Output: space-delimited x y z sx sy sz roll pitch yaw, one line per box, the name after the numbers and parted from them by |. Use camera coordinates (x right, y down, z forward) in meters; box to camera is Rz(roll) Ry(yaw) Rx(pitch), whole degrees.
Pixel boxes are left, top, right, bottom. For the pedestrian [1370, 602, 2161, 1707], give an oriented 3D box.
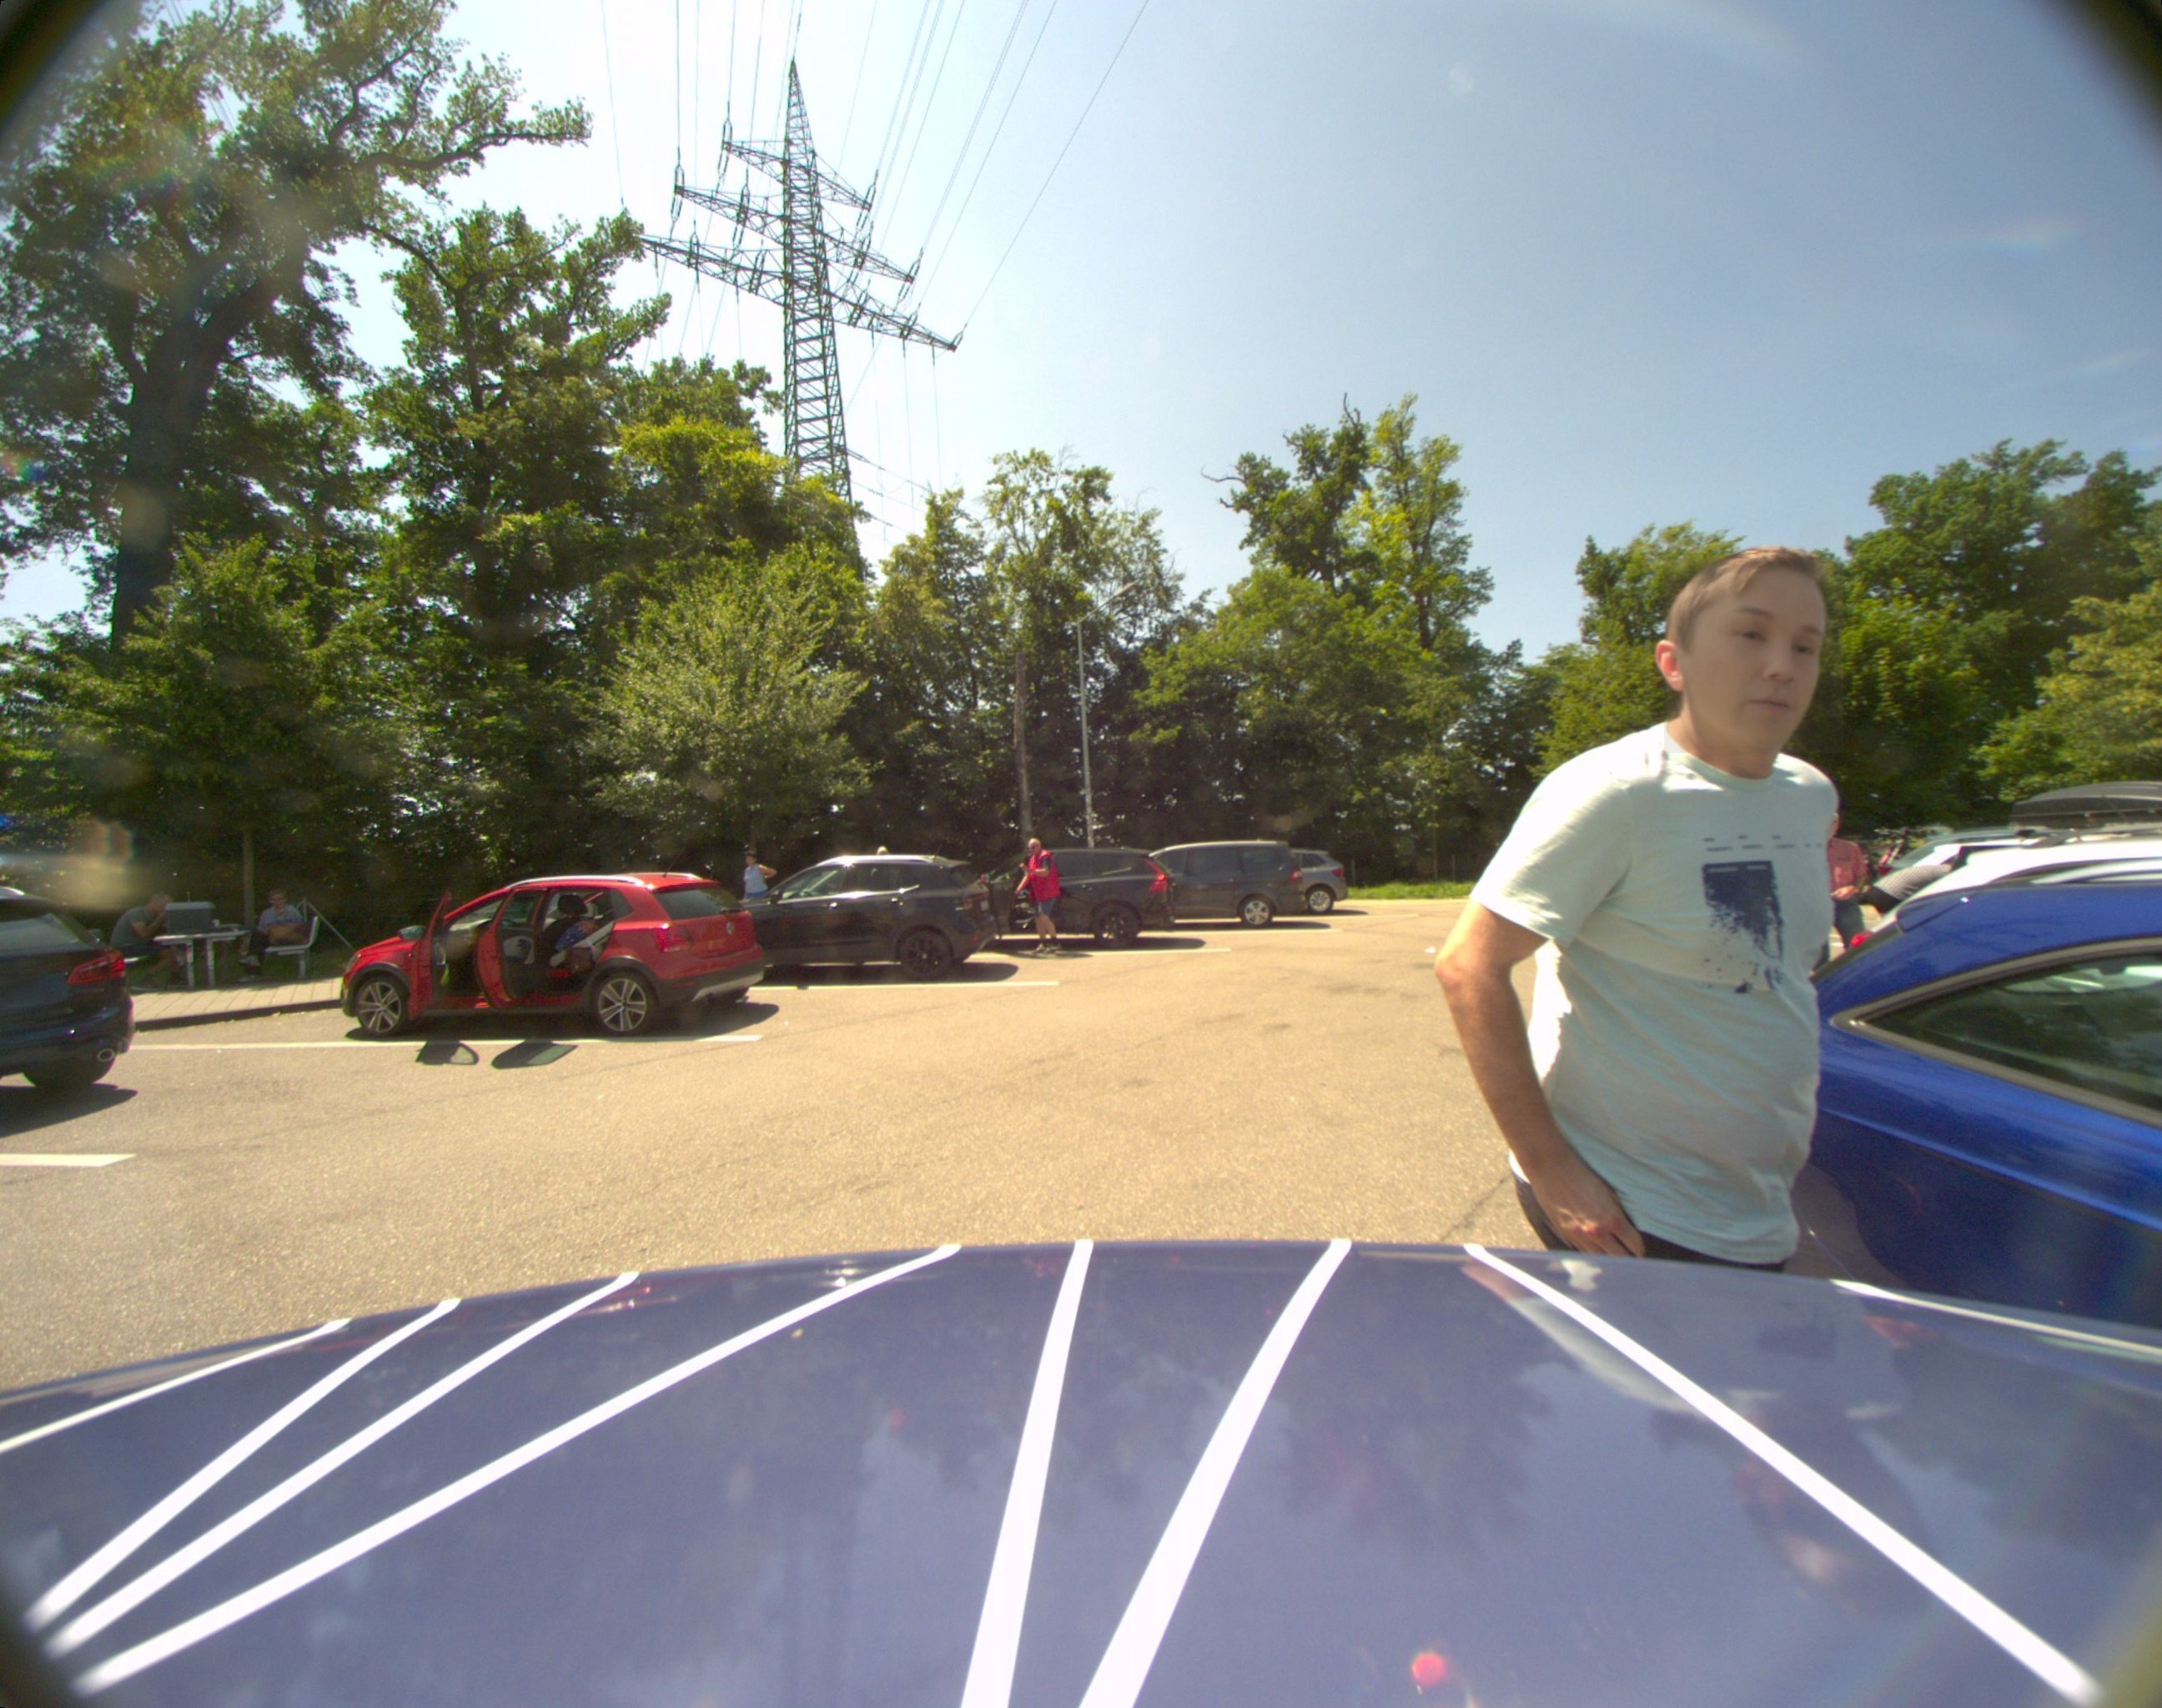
0.870 0.616 1.023 0.687 1.699 0.578 -2 0 1 | pedestrian

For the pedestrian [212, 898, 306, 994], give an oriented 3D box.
-11.915 1.309 11.021 0.828 1.287 0.672 -2 0 24 | pedestrian

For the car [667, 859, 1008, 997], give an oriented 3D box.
-3.144 0.938 10.368 3.966 1.582 1.841 -2 0 3 | car

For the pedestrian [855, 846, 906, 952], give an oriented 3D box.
-3.665 0.804 13.876 0.682 1.854 0.713 -2 0 -30 | pedestrian

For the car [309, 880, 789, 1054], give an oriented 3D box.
-5.191 1.072 7.709 3.704 1.448 1.781 -2 0 7 | car

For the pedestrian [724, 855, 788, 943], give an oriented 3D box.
-6.098 0.823 14.266 0.713 1.584 0.811 -2 0 37 | pedestrian

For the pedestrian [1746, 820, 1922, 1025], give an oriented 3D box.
6.288 0.546 6.388 0.672 1.592 0.759 -2 0 1 | pedestrian

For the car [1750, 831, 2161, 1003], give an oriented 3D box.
10.066 0.532 8.146 1.779 1.456 4.470 -2 -1 0 | car

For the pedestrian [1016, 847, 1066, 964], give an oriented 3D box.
-0.603 0.778 11.729 0.660 1.745 0.636 -2 0 1 | pedestrian

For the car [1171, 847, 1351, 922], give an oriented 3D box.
4.181 0.712 18.191 3.964 1.577 1.781 -2 0 7 | car

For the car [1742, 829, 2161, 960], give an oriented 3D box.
12.367 0.475 10.930 1.779 1.456 4.470 -2 -1 0 | car

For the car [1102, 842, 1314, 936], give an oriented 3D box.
2.511 0.696 15.439 3.964 1.678 1.781 -2 0 7 | car

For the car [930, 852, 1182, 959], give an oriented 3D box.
-0.325 0.840 12.947 3.964 1.582 1.781 -2 0 8 | car

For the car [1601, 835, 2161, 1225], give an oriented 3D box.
4.948 0.655 3.642 1.779 1.456 4.470 -2 -1 0 | car

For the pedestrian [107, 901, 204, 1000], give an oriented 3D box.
-12.734 1.305 10.464 0.652 1.262 0.672 -2 0 24 | pedestrian

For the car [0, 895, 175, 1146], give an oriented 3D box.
-8.916 1.157 4.991 4.011 1.558 1.846 -2 0 6 | car
